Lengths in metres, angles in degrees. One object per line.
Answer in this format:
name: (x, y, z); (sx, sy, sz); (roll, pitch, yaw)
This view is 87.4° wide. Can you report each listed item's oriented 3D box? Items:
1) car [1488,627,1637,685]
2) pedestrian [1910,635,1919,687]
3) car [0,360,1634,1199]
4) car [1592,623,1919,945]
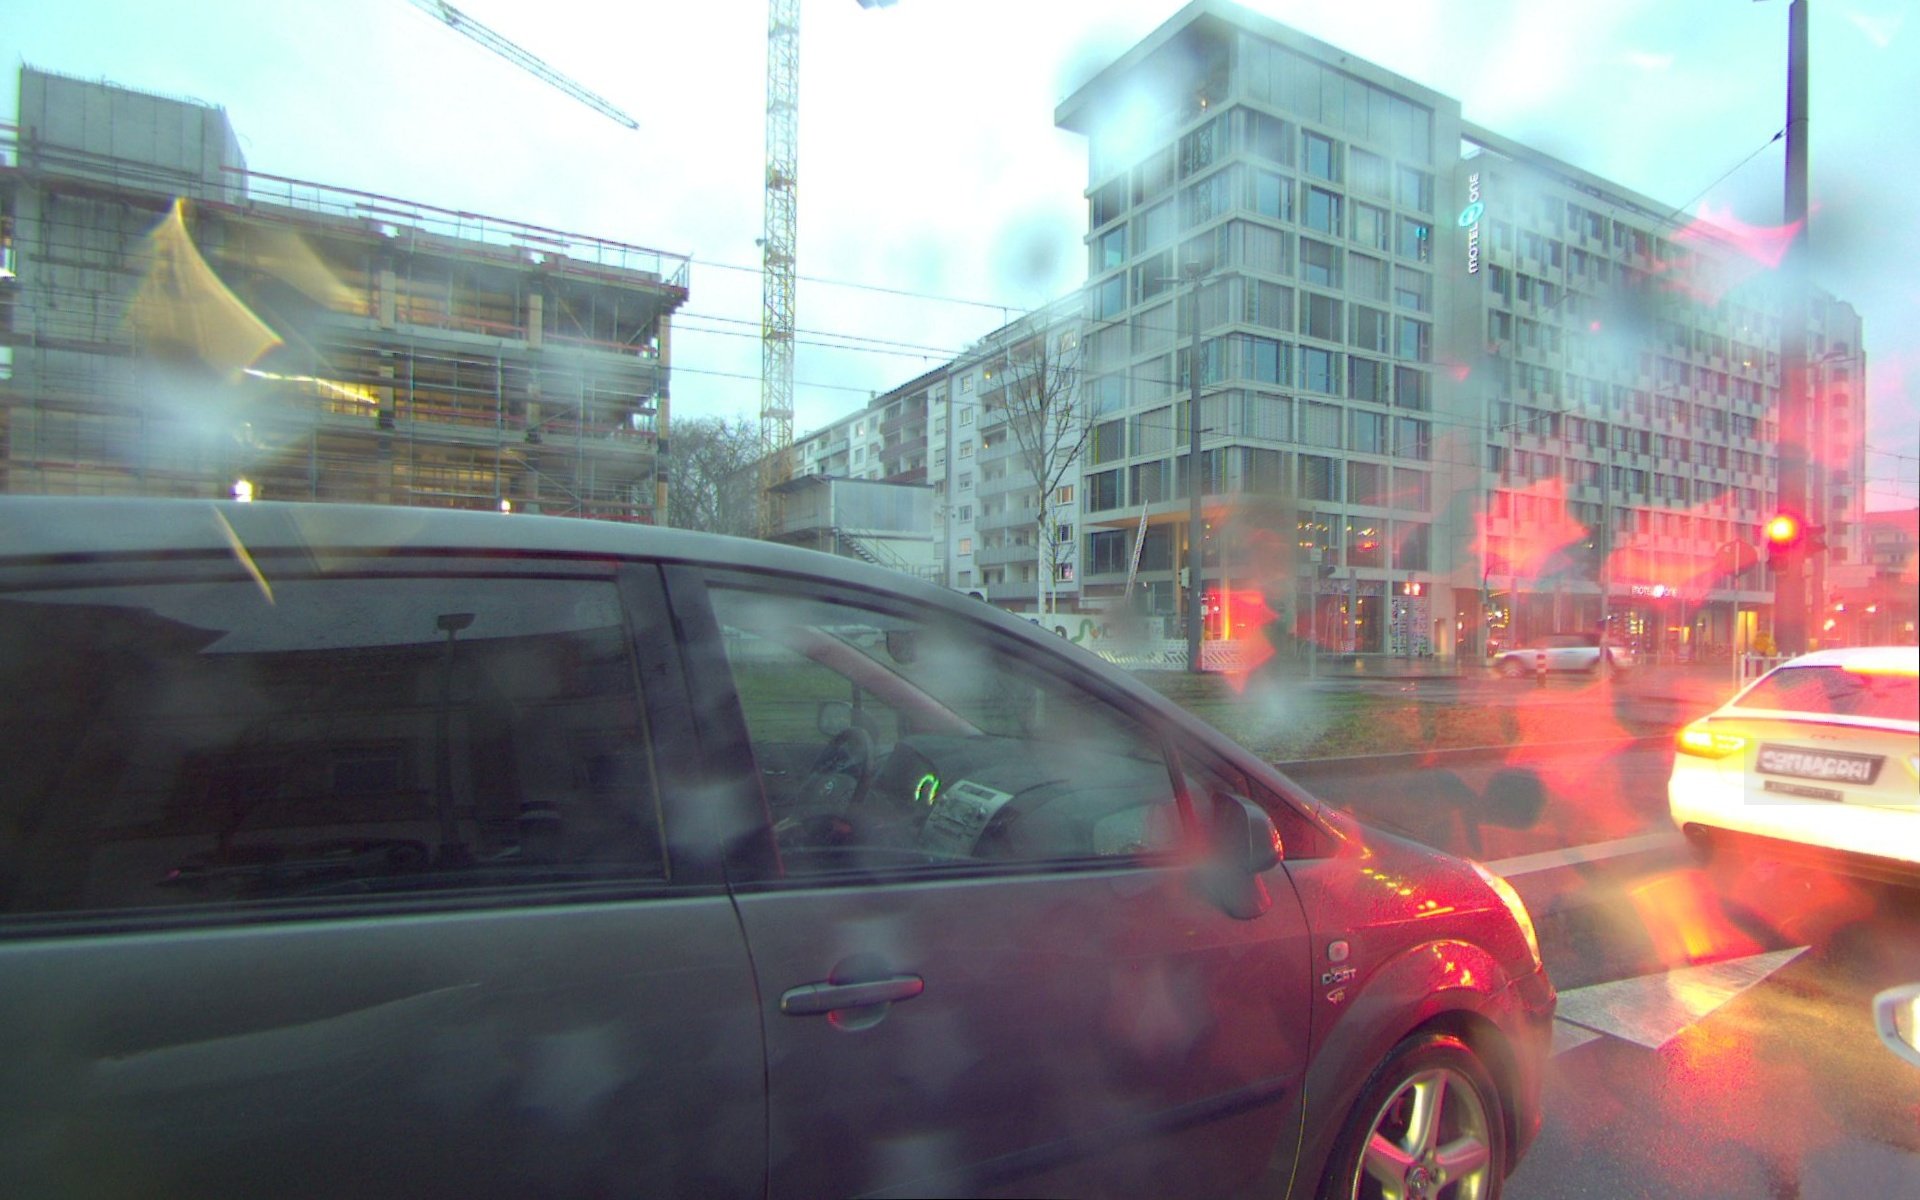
car: (18.408, 1.664, 30.775); (3.646, 1.497, 1.620); (2, 0, 42)
pedestrian: (32.813, 2.082, 34.054); (0.808, 1.734, 0.782); (2, 0, -45)
car: (-0.549, 0.641, 2.141); (4.089, 1.668, 1.801); (1, 0, -32)
car: (6.076, 0.917, 6.235); (4.320, 1.475, 1.983); (1, 0, -32)
